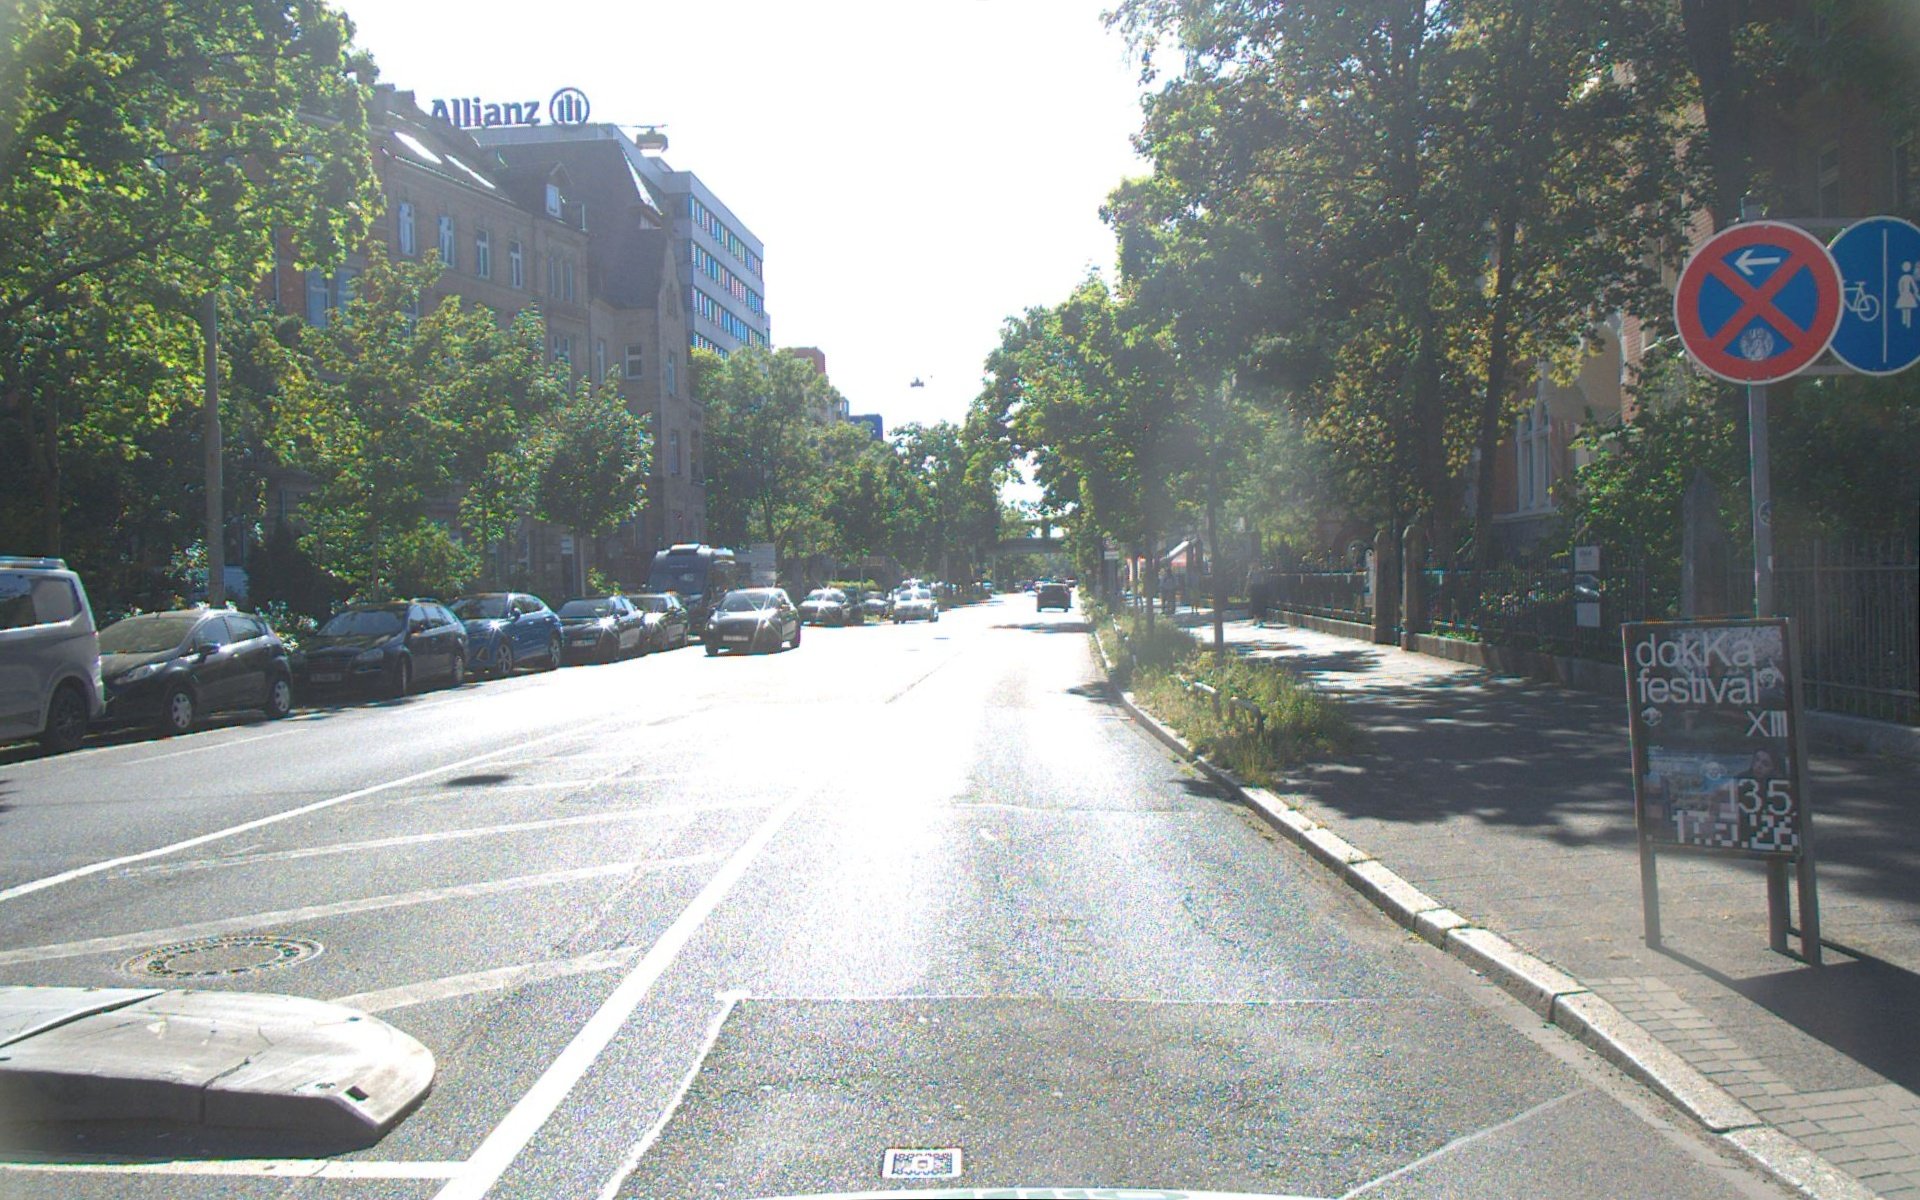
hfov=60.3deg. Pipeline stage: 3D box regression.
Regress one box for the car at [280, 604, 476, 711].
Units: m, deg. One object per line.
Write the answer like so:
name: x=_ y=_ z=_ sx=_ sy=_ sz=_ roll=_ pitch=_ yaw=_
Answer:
car: x=-9.329 y=0.864 z=26.887 sx=1.557 sy=1.508 sz=4.272 roll=-3 pitch=0 yaw=1

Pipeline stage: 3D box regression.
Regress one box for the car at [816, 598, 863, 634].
car: x=-5.409 y=0.700 z=74.983 sx=1.818 sy=1.520 sz=4.705 roll=1 pitch=1 yaw=-1

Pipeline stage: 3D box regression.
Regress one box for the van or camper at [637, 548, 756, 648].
van or camper: x=-7.891 y=-0.094 z=50.161 sx=2.170 sy=2.787 sz=6.092 roll=-2 pitch=1 yaw=4

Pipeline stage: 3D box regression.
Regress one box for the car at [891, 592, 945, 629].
car: x=-1.789 y=0.418 z=71.773 sx=1.878 sy=1.444 sz=4.227 roll=-2 pitch=1 yaw=4

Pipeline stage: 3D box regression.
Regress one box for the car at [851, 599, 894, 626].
car: x=-4.360 y=0.608 z=82.713 sx=1.643 sy=1.277 sz=4.017 roll=-1 pitch=1 yaw=4

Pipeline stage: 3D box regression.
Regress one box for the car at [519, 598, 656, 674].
car: x=-8.298 y=0.752 z=37.214 sx=1.743 sy=1.438 sz=4.408 roll=-3 pitch=1 yaw=4

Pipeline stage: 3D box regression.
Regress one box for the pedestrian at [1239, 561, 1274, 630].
pedestrian: x=7.610 y=-0.110 z=42.466 sx=0.680 sy=1.687 sz=0.821 roll=-5 pitch=0 yaw=3

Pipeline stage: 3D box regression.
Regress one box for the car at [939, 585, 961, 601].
car: x=-0.982 y=-0.690 z=166.564 sx=1.816 sy=1.595 sz=3.874 roll=-1 pitch=1 yaw=4

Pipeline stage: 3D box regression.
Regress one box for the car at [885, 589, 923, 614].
car: x=-3.302 y=0.093 z=98.880 sx=1.652 sy=1.407 sz=4.194 roll=-1 pitch=1 yaw=6

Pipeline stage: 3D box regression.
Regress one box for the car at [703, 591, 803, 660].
car: x=-4.898 y=0.567 z=39.536 sx=1.559 sy=1.475 sz=4.135 roll=-2 pitch=1 yaw=4

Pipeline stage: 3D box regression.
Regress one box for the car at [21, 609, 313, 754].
car: x=-9.719 y=0.930 z=20.622 sx=1.433 sy=1.527 sz=3.961 roll=-3 pitch=0 yaw=4

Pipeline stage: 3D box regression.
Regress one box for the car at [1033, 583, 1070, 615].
car: x=5.009 y=-0.077 z=91.115 sx=1.943 sy=1.628 sz=4.142 roll=-1 pitch=1 yaw=3

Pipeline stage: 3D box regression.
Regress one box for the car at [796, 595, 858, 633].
car: x=-5.584 y=0.568 z=69.813 sx=1.817 sy=1.452 sz=4.723 roll=2 pitch=1 yaw=5

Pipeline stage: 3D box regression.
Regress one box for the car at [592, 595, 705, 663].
car: x=-7.932 y=0.705 z=42.554 sx=1.658 sy=1.482 sz=4.666 roll=-3 pitch=1 yaw=4

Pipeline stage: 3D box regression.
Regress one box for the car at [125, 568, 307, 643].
car: x=-20.775 y=0.147 z=46.398 sx=1.823 sy=1.947 sz=4.445 roll=-3 pitch=-1 yaw=28

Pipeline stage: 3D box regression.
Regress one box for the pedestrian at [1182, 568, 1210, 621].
pedestrian: x=8.468 y=-0.202 z=59.305 sx=0.732 sy=1.818 sz=0.811 roll=-4 pitch=0 yaw=20

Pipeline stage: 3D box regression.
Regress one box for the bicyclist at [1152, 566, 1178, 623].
bicyclist: x=6.461 y=-0.182 z=52.160 sx=0.608 sy=1.719 sz=0.820 roll=-5 pitch=1 yaw=0

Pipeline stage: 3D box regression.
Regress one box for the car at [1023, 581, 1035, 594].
car: x=10.839 y=-1.956 z=258.913 sx=1.817 sy=1.856 sz=4.612 roll=-3 pitch=1 yaw=3

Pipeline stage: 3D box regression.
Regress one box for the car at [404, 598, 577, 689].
car: x=-9.087 y=0.788 z=32.419 sx=1.743 sy=1.565 sz=4.561 roll=-2 pitch=0 yaw=4

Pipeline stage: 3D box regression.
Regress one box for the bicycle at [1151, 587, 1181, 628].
bicycle: x=6.497 y=0.226 z=52.183 sx=0.603 sy=1.196 sz=1.919 roll=-5 pitch=1 yaw=0

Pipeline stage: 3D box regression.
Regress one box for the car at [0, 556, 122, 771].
car: x=-10.271 y=0.683 z=15.758 sx=1.943 sy=2.071 sz=4.875 roll=-4 pitch=1 yaw=0
